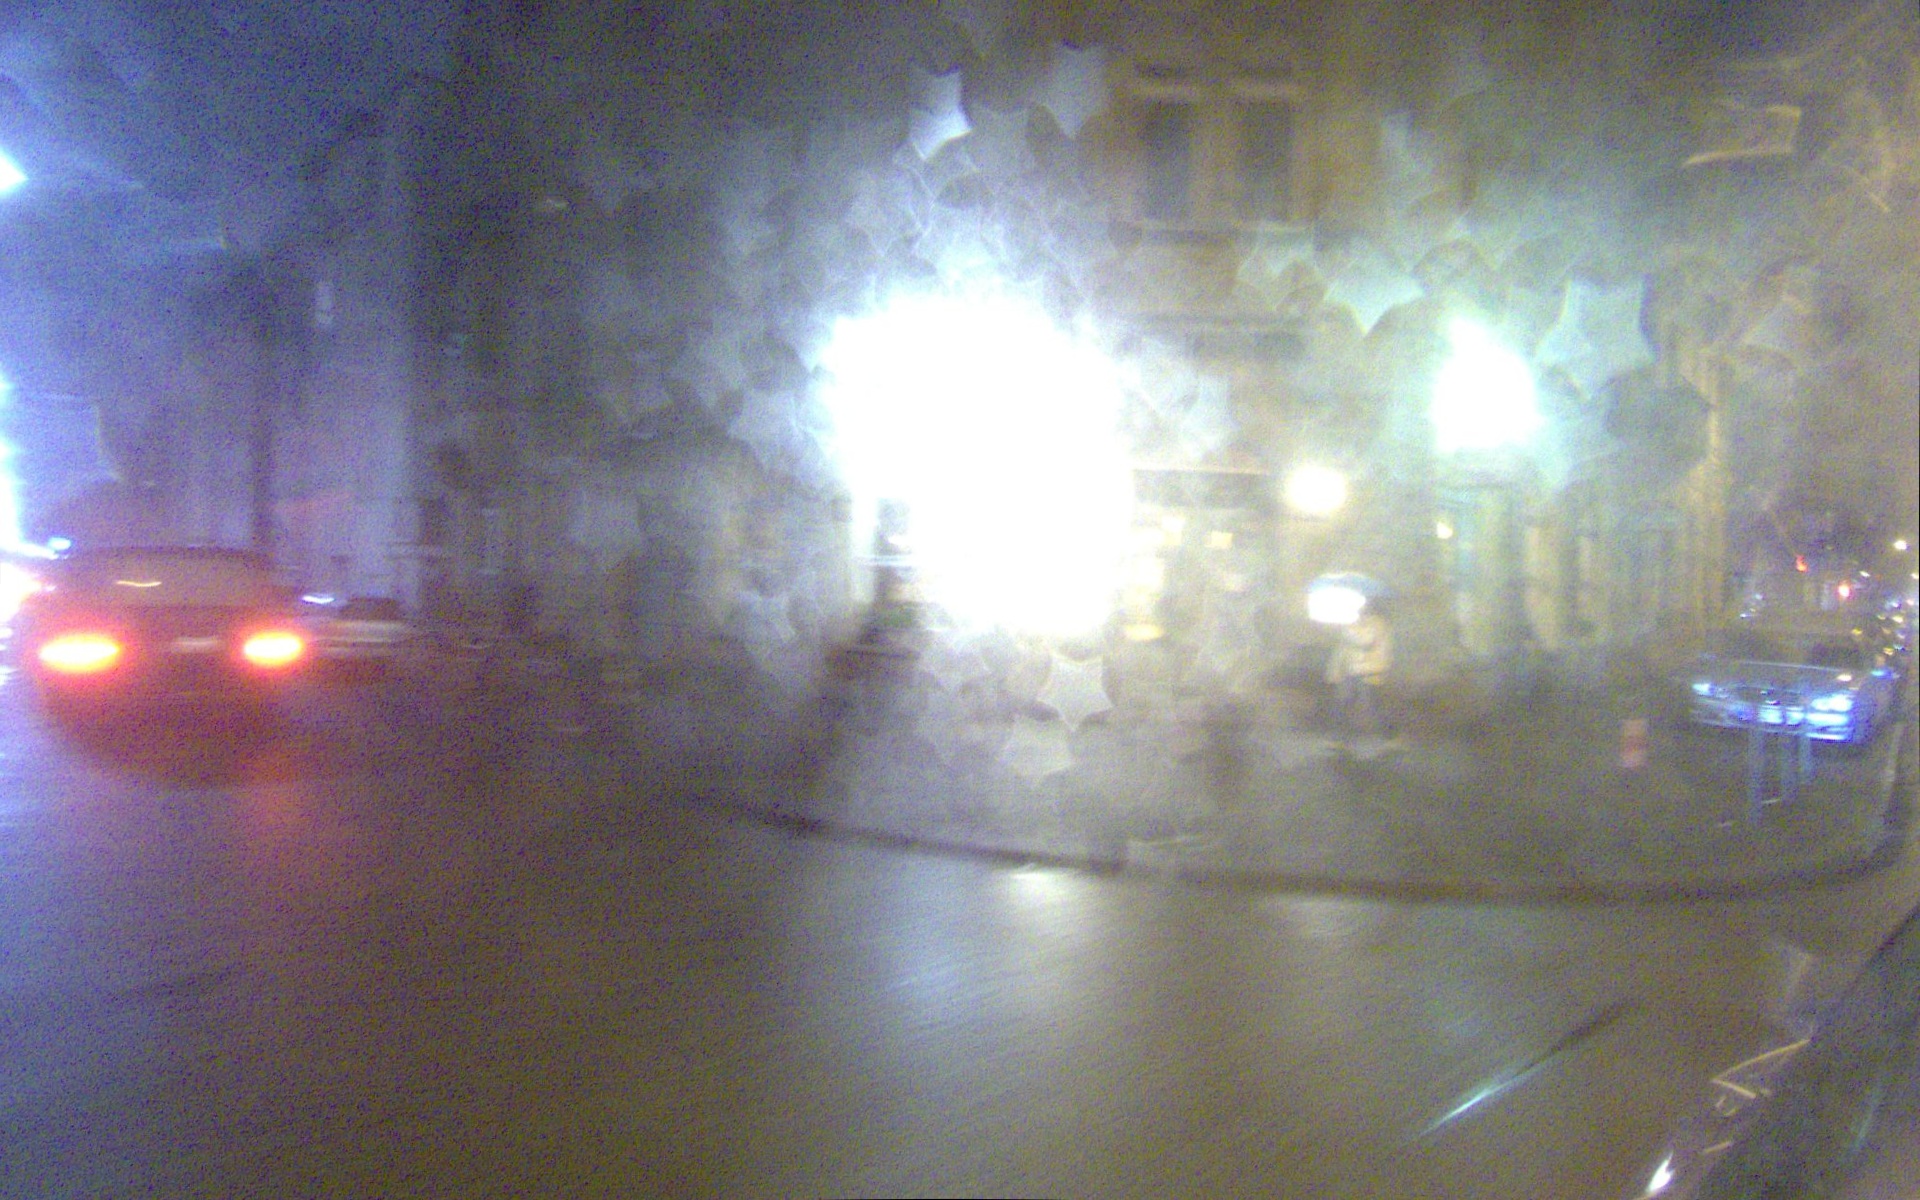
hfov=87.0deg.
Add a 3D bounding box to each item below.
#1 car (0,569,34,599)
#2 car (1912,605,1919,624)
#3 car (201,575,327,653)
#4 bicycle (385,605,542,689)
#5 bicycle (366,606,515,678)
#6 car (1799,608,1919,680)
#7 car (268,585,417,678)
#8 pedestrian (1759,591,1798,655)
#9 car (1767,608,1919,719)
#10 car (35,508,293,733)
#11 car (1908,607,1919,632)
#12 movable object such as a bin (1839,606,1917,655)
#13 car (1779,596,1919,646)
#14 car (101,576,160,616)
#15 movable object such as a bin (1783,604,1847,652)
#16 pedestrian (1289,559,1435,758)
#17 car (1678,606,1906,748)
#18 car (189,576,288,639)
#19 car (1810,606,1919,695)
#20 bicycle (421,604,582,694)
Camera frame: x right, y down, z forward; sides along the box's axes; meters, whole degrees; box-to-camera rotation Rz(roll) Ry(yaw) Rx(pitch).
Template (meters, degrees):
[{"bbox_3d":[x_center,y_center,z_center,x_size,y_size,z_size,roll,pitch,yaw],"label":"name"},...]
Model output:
[{"bbox_3d":[-59.749,-1.019,63.599,4.678,1.765,1.971,2,1,44],"label":"car"},{"bbox_3d":[77.430,1.182,80.896,1.842,1.525,4.094,3,2,45],"label":"car"},{"bbox_3d":[-14.706,0.230,21.313,1.583,1.476,3.971,1,1,-43],"label":"car"},{"bbox_3d":[-7.224,0.659,14.777,1.950,1.130,0.701,0,-1,-41],"label":"bicycle"},{"bbox_3d":[-8.012,0.625,15.658,1.950,1.023,0.701,0,-1,-41],"label":"bicycle"},{"bbox_3d":[21.396,0.956,23.956,1.994,1.482,4.346,2,1,44],"label":"car"},{"bbox_3d":[-11.047,0.491,18.020,1.583,1.476,3.408,1,0,-43],"label":"car"},{"bbox_3d":[24.004,0.680,29.675,0.613,1.810,0.704,2,1,-42],"label":"pedestrian"},{"bbox_3d":[14.400,0.925,16.411,1.690,1.517,3.829,2,1,44],"label":"car"},{"bbox_3d":[-9.220,0.150,11.795,1.966,2.074,4.690,1,0,-39],"label":"car"},{"bbox_3d":[69.375,1.380,72.723,1.673,1.743,3.794,3,2,45],"label":"car"},{"bbox_3d":[28.349,0.928,31.280,1.319,1.447,1.198,1,0,9],"label":"movable object such as a bin"},{"bbox_3d":[36.098,0.815,40.857,1.751,1.549,4.517,0,4,-45],"label":"car"},{"bbox_3d":[-32.823,-0.173,40.014,1.583,1.476,3.408,1,0,-43],"label":"car"},{"bbox_3d":[26.919,0.855,31.883,1.030,1.447,1.313,1,1,-36],"label":"movable object such as a bin"},{"bbox_3d":[3.963,0.543,9.973,1.064,1.810,0.864,2,1,-42],"label":"pedestrian"},{"bbox_3d":[10.543,0.823,12.723,1.918,1.429,3.937,2,1,44],"label":"car"},{"bbox_3d":[-18.316,0.149,25.637,1.583,1.476,3.408,1,0,-43],"label":"car"},{"bbox_3d":[17.862,0.913,19.921,1.688,1.517,3.834,2,1,41],"label":"car"},{"bbox_3d":[-6.229,0.636,13.820,1.950,1.130,0.507,0,-1,-41],"label":"bicycle"}]
